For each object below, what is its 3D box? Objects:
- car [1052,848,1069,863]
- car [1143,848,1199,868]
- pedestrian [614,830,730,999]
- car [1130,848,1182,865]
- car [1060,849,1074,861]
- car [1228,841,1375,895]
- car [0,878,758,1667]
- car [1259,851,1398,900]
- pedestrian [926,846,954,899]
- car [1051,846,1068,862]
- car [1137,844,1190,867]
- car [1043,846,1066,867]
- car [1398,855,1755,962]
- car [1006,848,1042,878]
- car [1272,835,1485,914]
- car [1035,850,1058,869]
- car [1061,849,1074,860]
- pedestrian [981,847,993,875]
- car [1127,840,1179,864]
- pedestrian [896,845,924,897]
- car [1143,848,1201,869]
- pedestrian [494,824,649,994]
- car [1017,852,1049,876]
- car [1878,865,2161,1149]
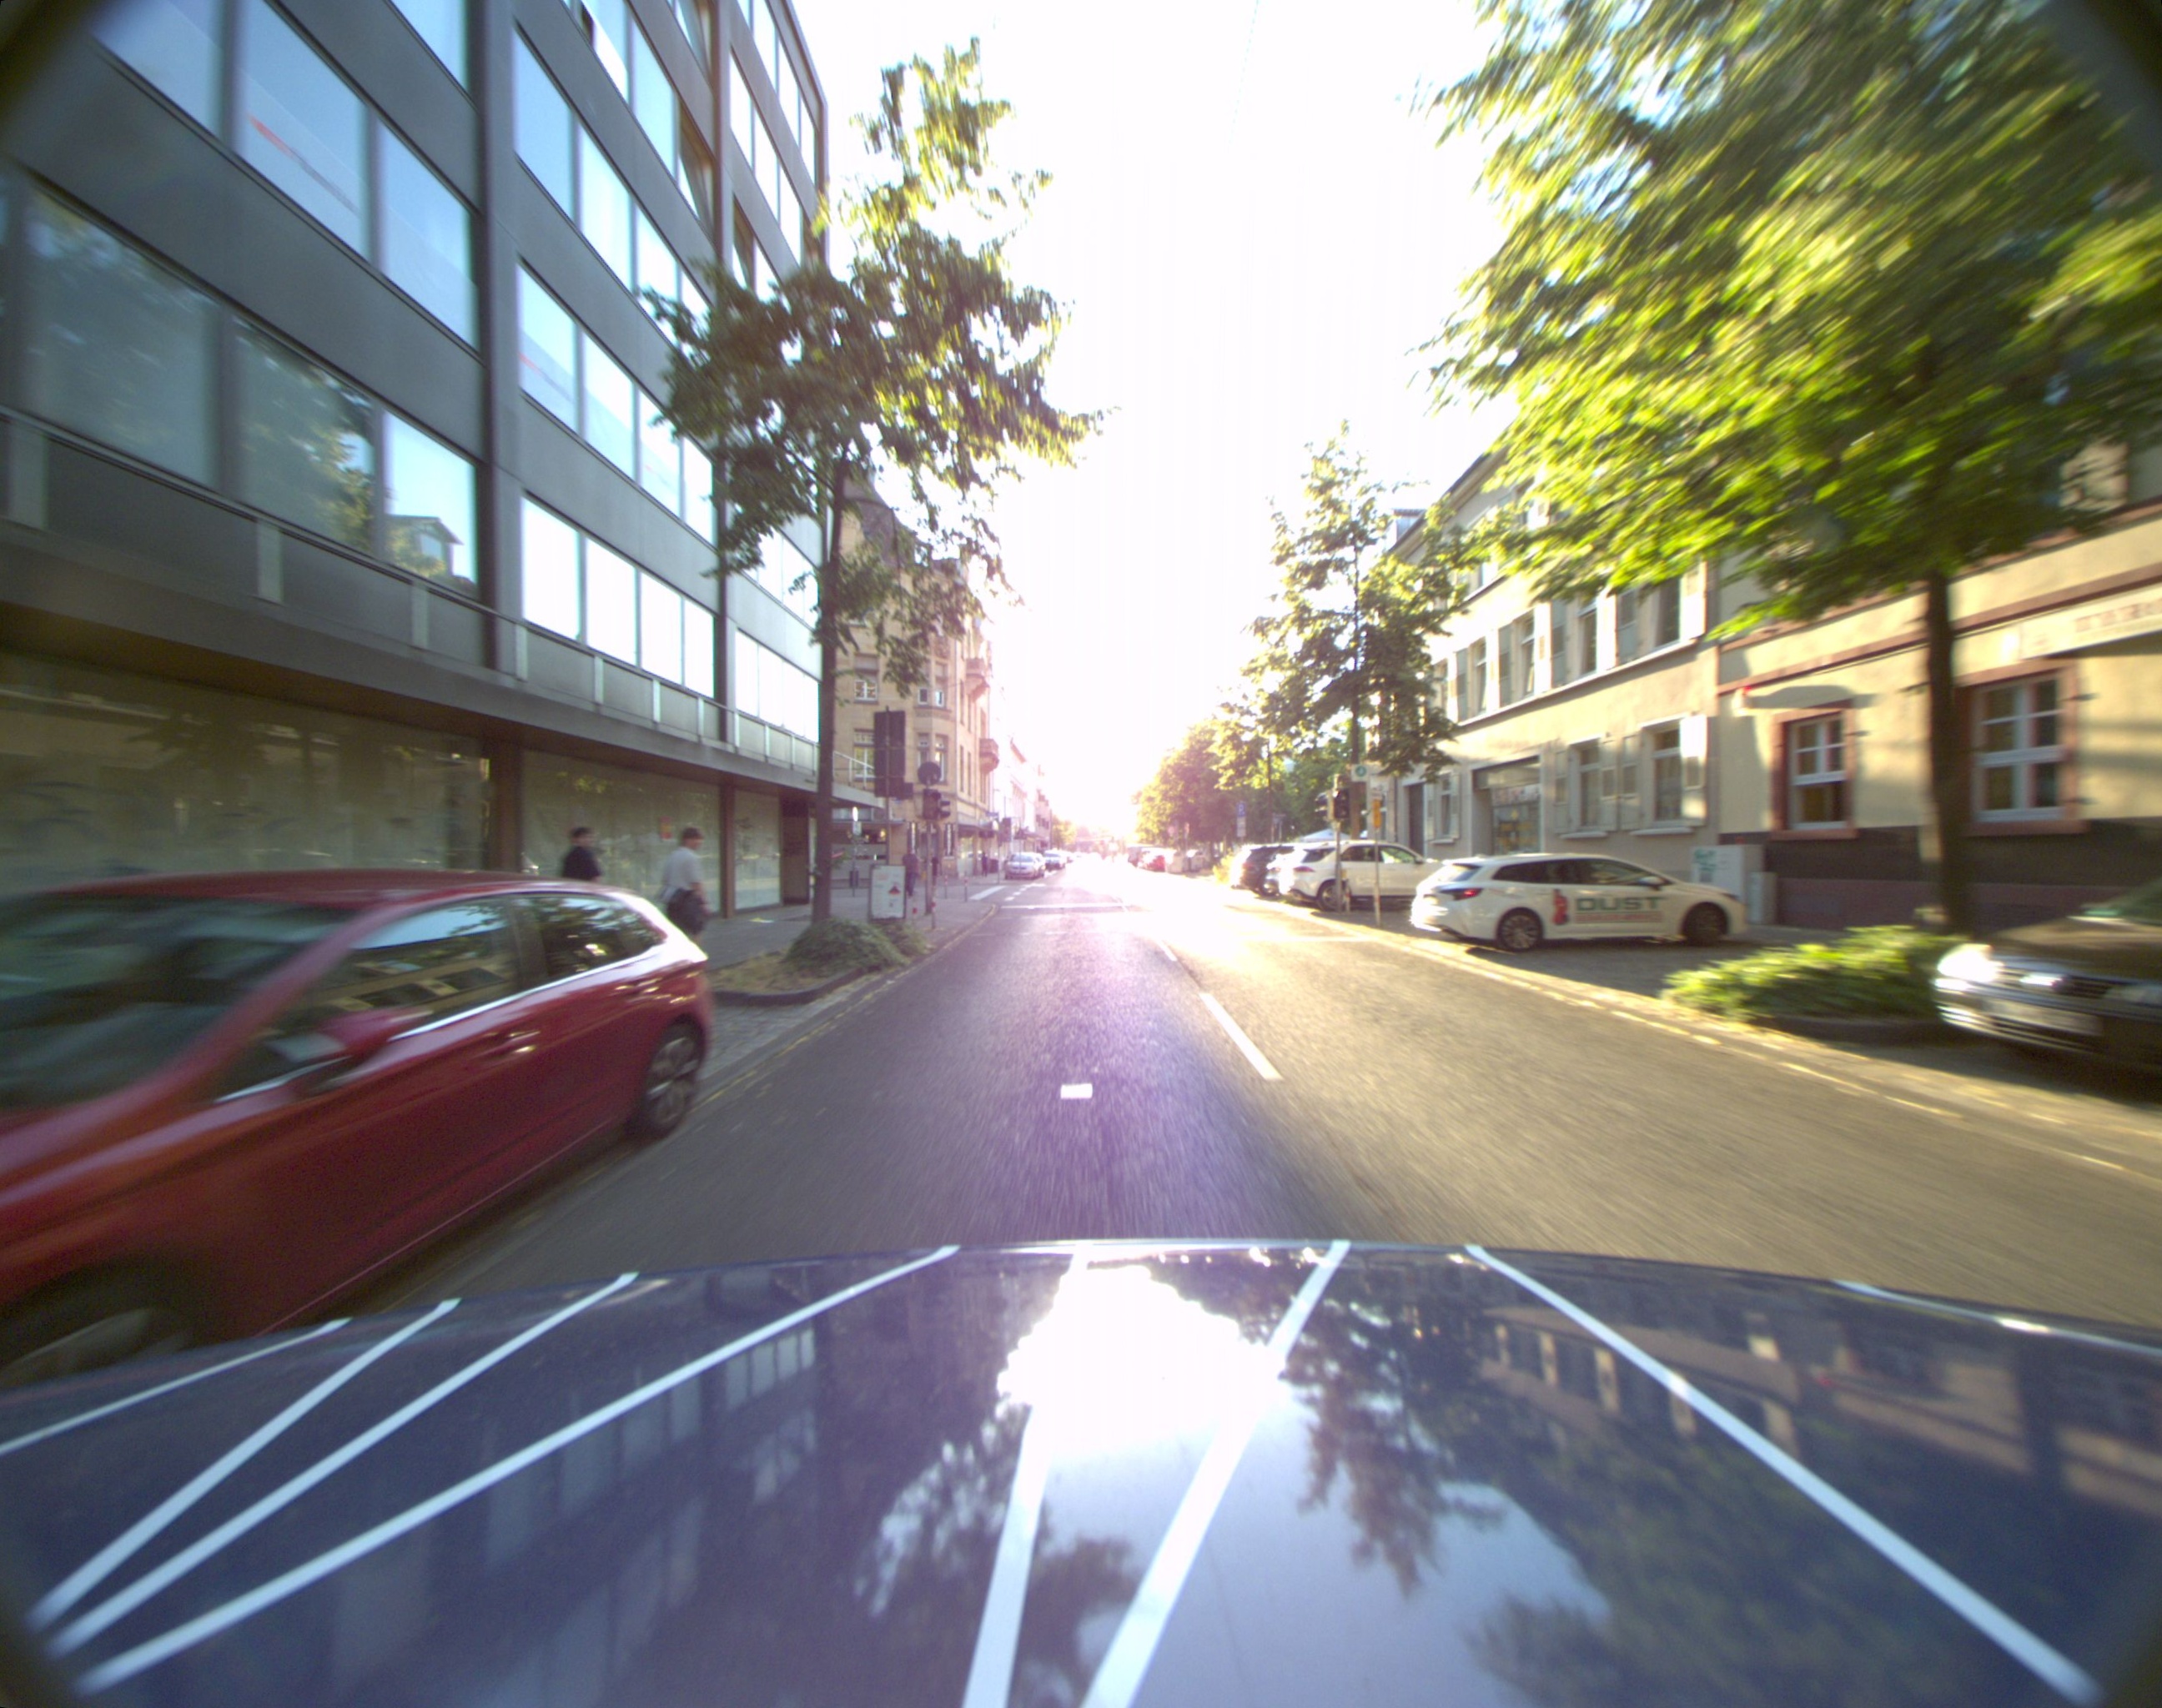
[{"bbox_3d":[-2.386,0.163,87.947,1.758,1.638,3.793,3,0,1],"label":"car"},{"bbox_3d":[7.522,0.319,63.483,4.579,1.623,1.896,-1,0,-37],"label":"car"},{"bbox_3d":[-4.597,0.649,8.597,0.731,1.775,0.870,4,1,1],"label":"pedestrian"},{"bbox_3d":[7.312,0.262,73.781,4.577,1.573,2.131,-1,0,-28],"label":"car"},{"bbox_3d":[-1.929,0.131,109.262,1.804,1.570,4.403,2,0,1],"label":"car"},{"bbox_3d":[7.639,0.460,26.652,4.567,1.772,1.946,0,1,0],"label":"car"},{"bbox_3d":[-3.130,0.948,2.887,1.726,1.484,4.752,2,0,0],"label":"car"},{"bbox_3d":[7.724,0.654,23.986,3.825,1.453,1.821,-1,0,2],"label":"car"},{"bbox_3d":[-4.755,0.613,25.681,0.756,1.748,0.812,0,1,1],"label":"pedestrian"},{"bbox_3d":[-2.689,0.031,94.938,1.804,1.910,4.403,2,0,1],"label":"car"},{"bbox_3d":[7.260,0.088,66.754,4.579,1.922,1.896,-1,1,-37],"label":"car"},{"bbox_3d":[-2.637,0.251,76.230,1.867,1.900,4.256,3,0,4],"label":"car"},{"bbox_3d":[7.576,0.802,11.950,4.393,1.414,1.822,-2,0,1],"label":"car"},{"bbox_3d":[-3.383,0.522,45.541,1.758,1.638,3.793,3,0,1],"label":"car"},{"bbox_3d":[7.612,0.505,19.822,4.718,1.800,2.053,-2,0,2],"label":"car"},{"bbox_3d":[-3.026,0.466,68.167,1.758,1.638,3.793,3,0,1],"label":"car"},{"bbox_3d":[-2.105,0.076,120.841,1.804,1.570,4.403,2,0,1],"label":"car"},{"bbox_3d":[-5.774,0.423,46.699,0.599,1.653,0.603,1,1,6],"label":"pedestrian"},{"bbox_3d":[7.275,-0.253,76.949,4.782,2.344,2.153,-1,1,-27],"label":"car"},{"bbox_3d":[-5.804,0.568,25.852,0.756,1.748,0.812,0,1,1],"label":"pedestrian"},{"bbox_3d":[7.215,0.354,60.001,4.579,1.548,1.809,-1,0,-37],"label":"car"},{"bbox_3d":[-5.731,0.588,8.616,1.049,1.775,0.945,3,1,1],"label":"pedestrian"},{"bbox_3d":[-3.147,0.624,50.364,1.580,1.451,3.587,3,0,4],"label":"car"},{"bbox_3d":[7.731,0.804,4.608,3.794,1.440,1.789,-2,0,3],"label":"car"}]
